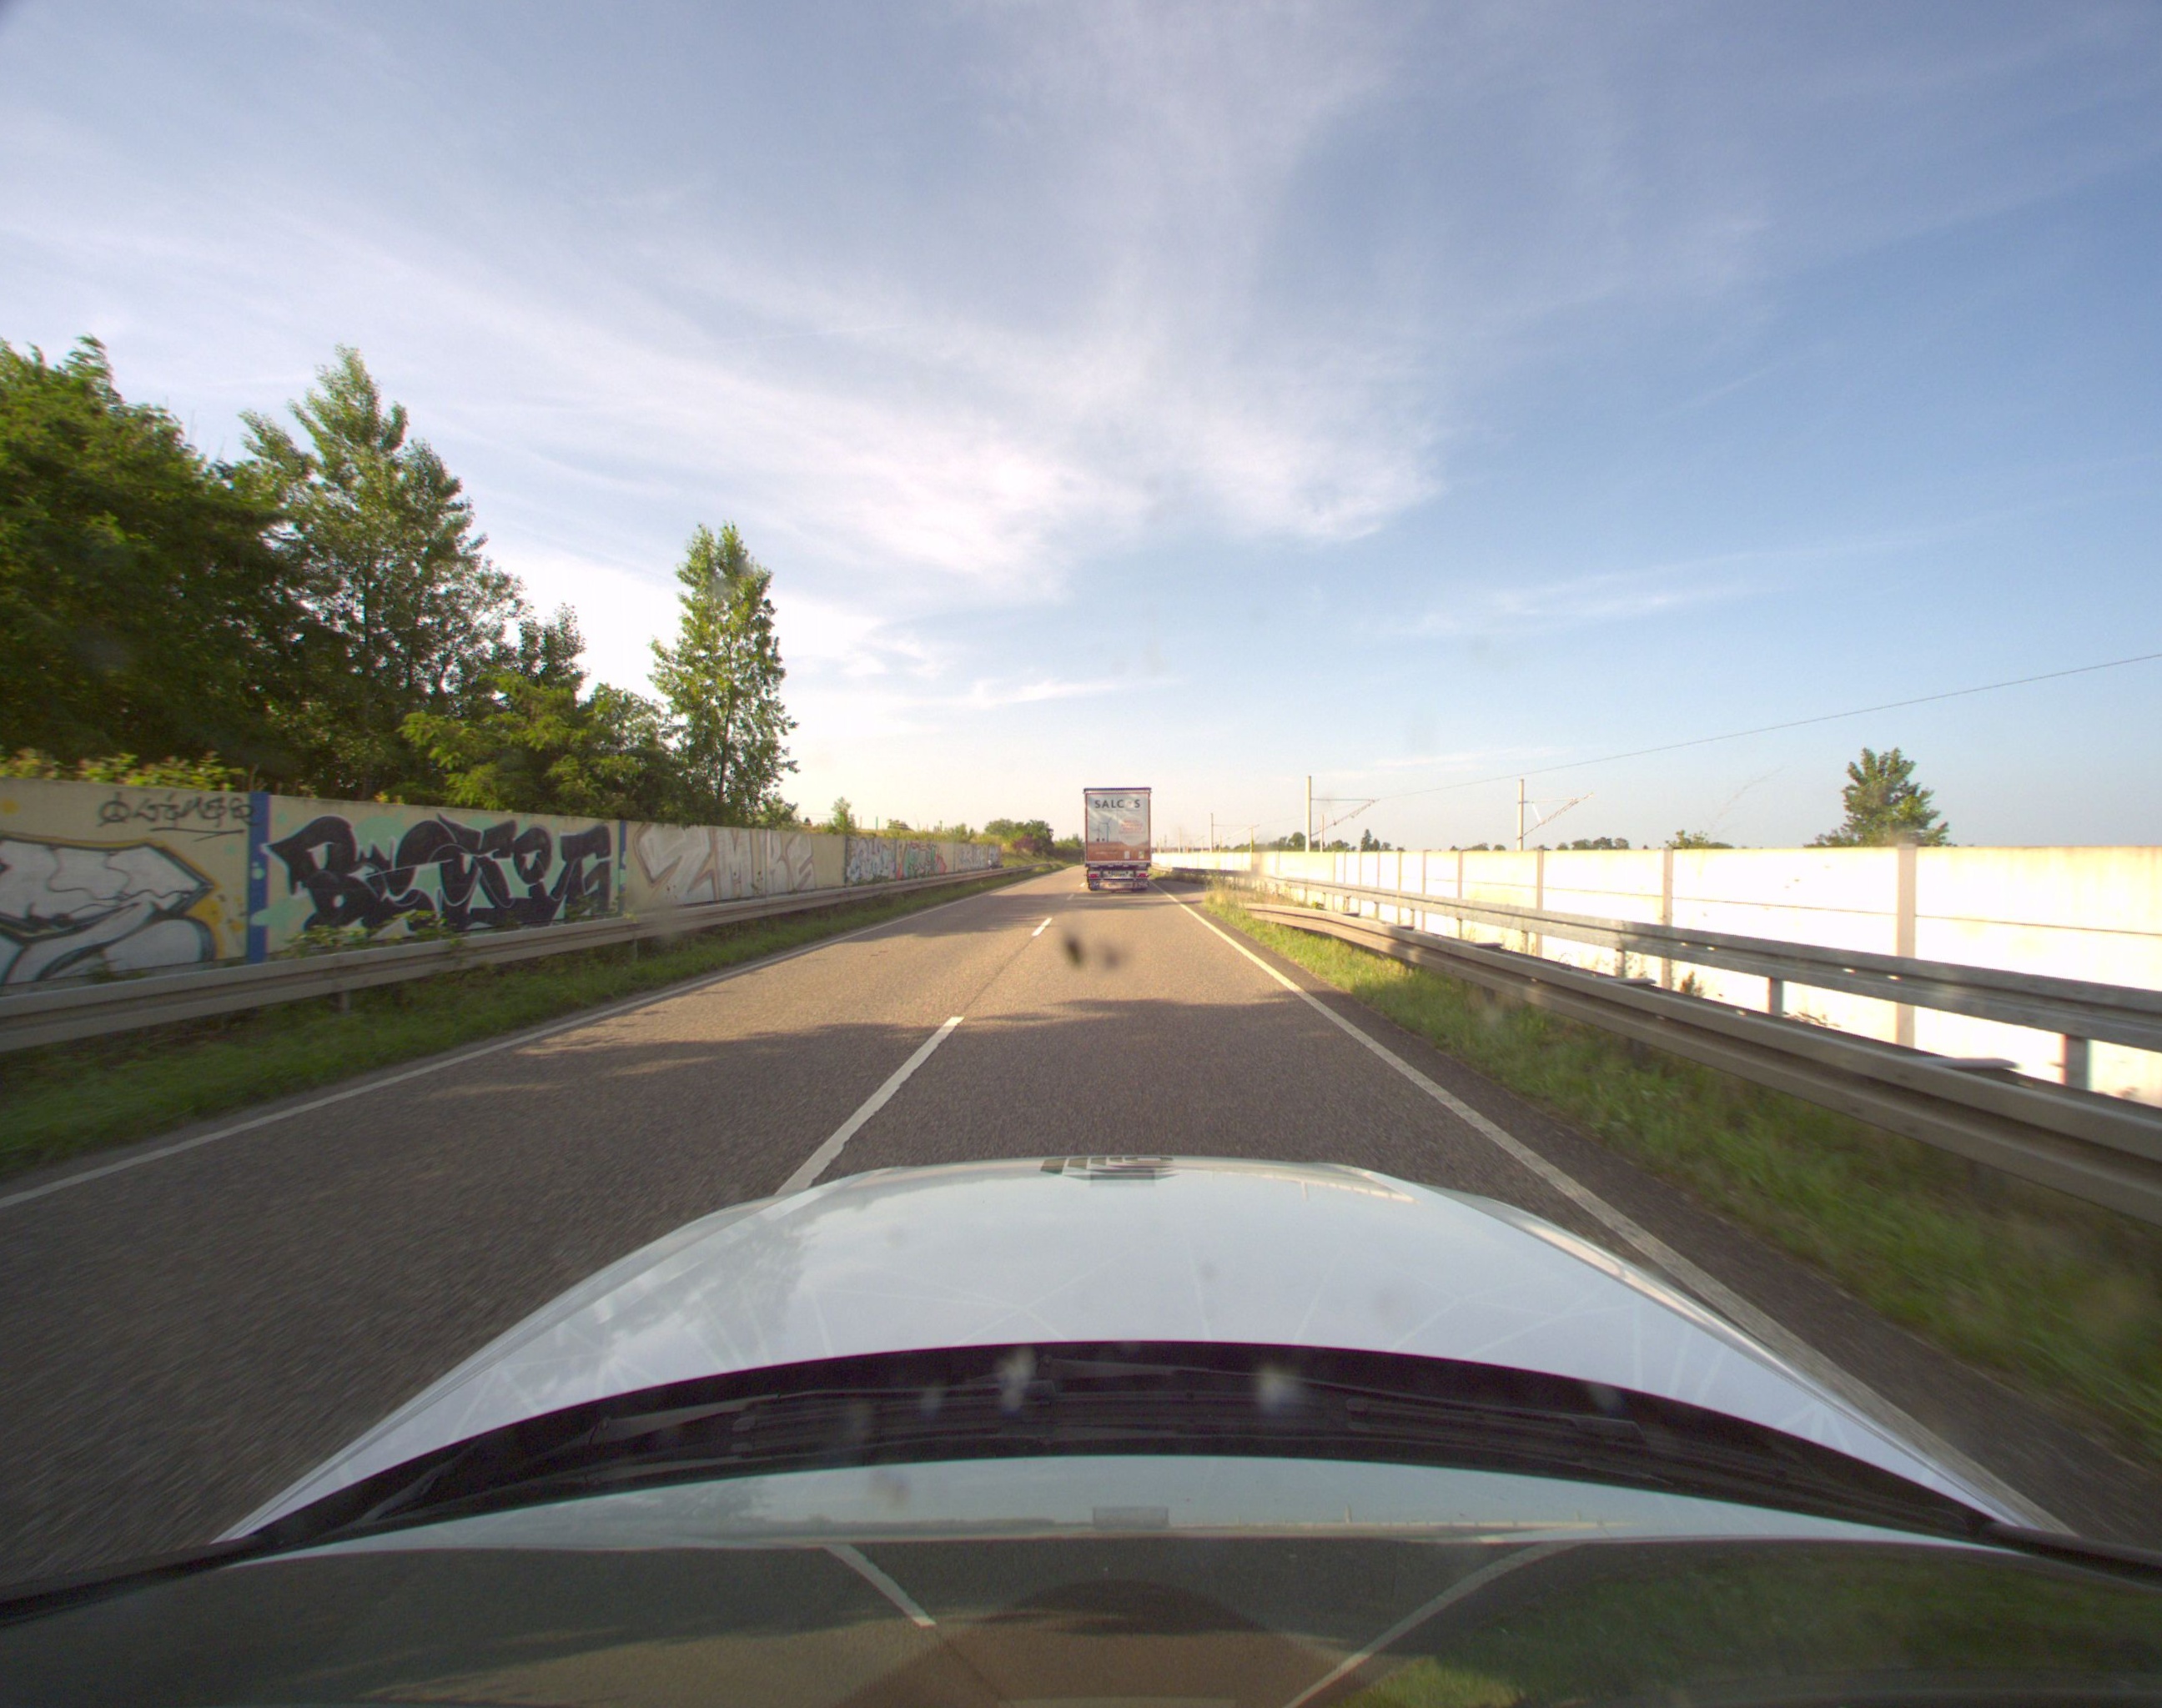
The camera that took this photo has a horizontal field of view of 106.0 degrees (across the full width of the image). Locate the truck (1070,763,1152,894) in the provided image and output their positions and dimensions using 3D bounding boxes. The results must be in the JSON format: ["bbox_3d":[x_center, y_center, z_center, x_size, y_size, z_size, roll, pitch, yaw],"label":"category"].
[{"bbox_3d":[1.299,-1.018,36.962,3.022,4.920,11.687,-1,0,1],"label":"truck"}]
